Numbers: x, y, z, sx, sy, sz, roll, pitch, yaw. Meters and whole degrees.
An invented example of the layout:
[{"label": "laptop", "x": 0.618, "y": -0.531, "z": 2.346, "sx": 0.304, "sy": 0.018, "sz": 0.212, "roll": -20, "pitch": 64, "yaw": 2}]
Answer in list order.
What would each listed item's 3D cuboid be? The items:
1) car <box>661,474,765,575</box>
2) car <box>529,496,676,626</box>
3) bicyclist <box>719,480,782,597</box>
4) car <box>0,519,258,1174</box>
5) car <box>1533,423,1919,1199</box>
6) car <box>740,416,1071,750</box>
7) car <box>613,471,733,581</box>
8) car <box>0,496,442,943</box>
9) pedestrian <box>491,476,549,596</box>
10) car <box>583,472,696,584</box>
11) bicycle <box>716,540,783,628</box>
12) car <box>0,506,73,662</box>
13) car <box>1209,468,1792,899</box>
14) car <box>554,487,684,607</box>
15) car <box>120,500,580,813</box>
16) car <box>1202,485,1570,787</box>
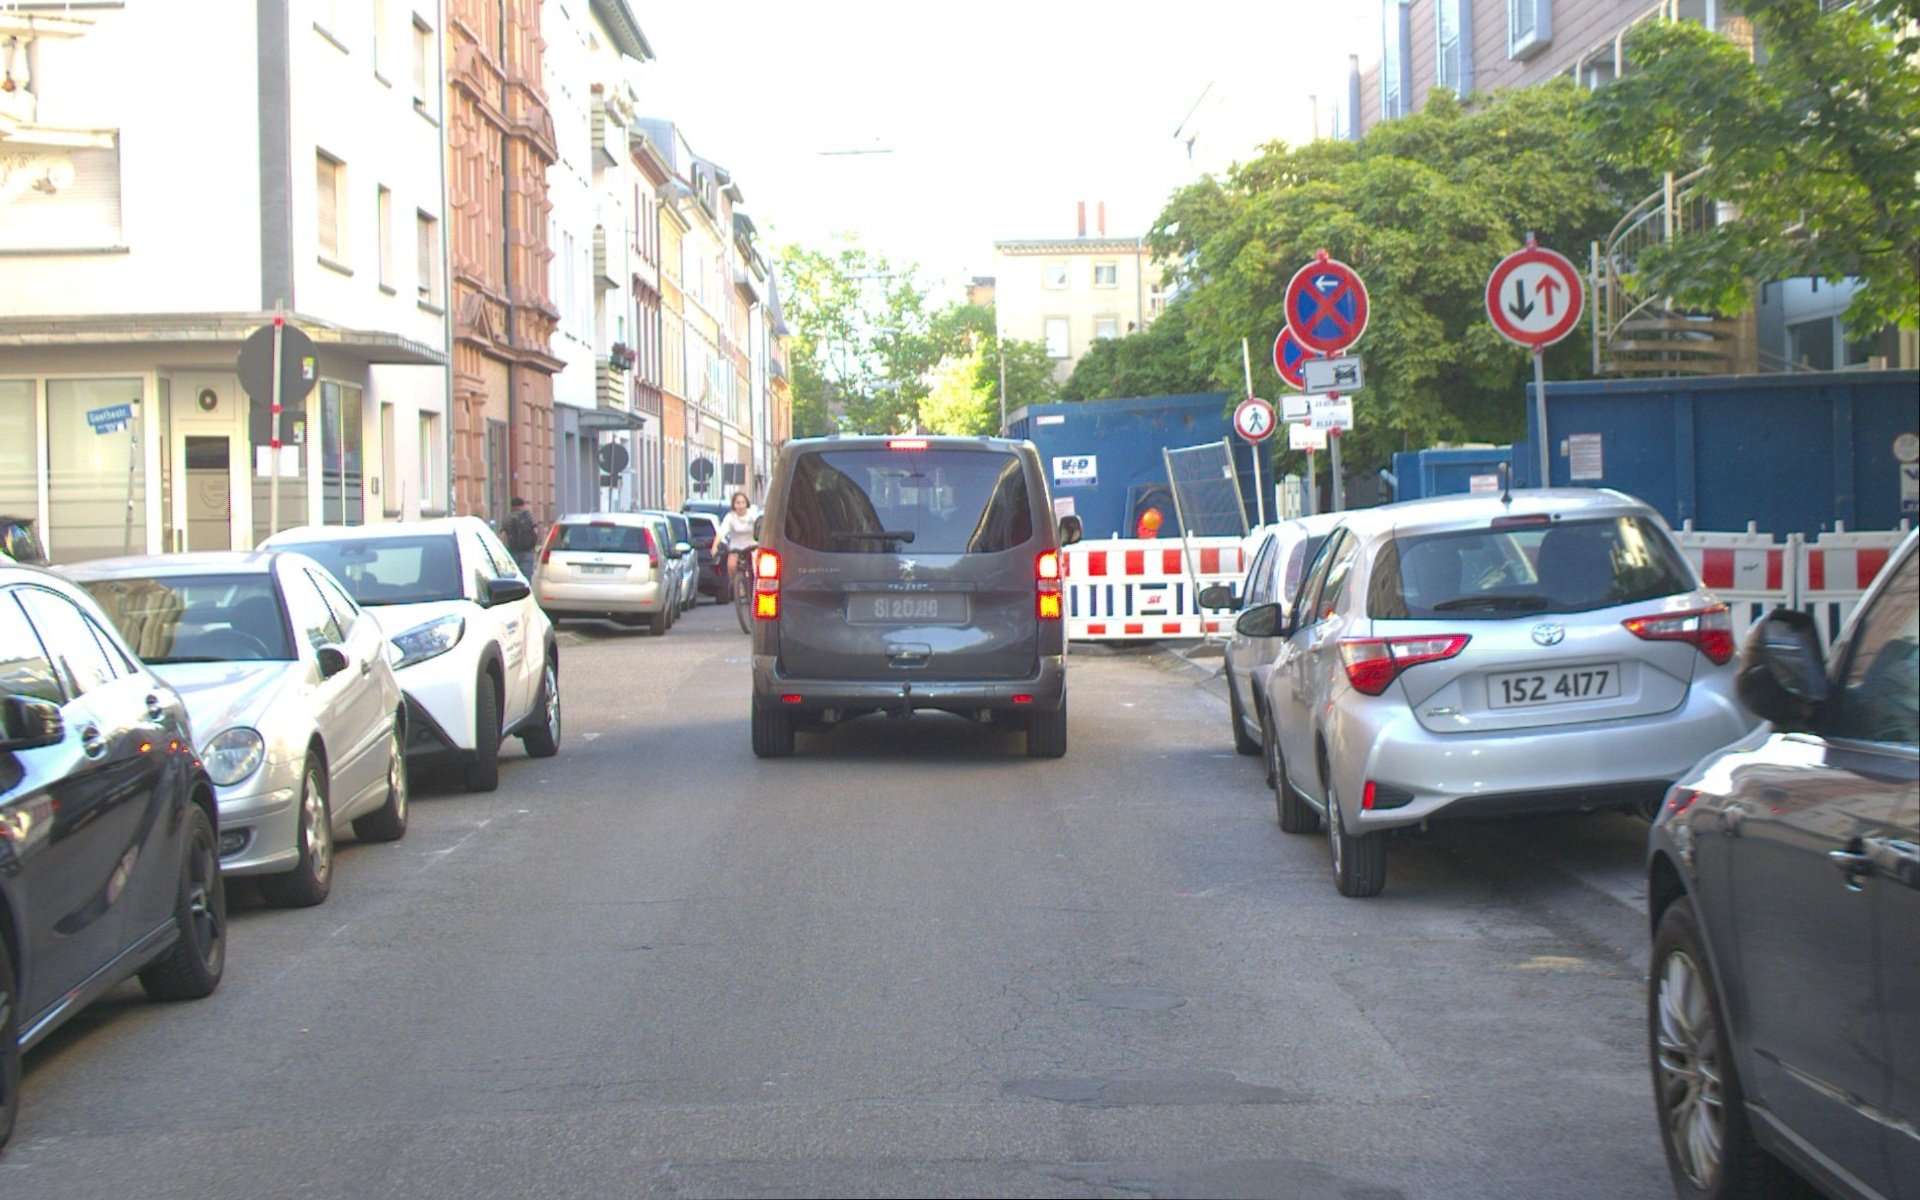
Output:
[{"label": "car", "x": -4.932, "y": -1.497, "z": 68.583, "sx": 1.891, "sy": 1.840, "sz": 4.350, "roll": 4, "pitch": 1, "yaw": -4}, {"label": "car", "x": -4.454, "y": -0.500, "z": 43.160, "sx": 1.656, "sy": 1.455, "sz": 3.418, "roll": 4, "pitch": 1, "yaw": -4}, {"label": "bicyclist", "x": -2.566, "y": -0.758, "z": 42.182, "sx": 0.733, "sy": 1.407, "sz": 0.940, "roll": 1, "pitch": 1, "yaw": -2}, {"label": "car", "x": -3.266, "y": 0.598, "z": 9.260, "sx": 1.920, "sy": 1.478, "sz": 4.268, "roll": -3, "pitch": 2, "yaw": -2}, {"label": "car", "x": 2.302, "y": 0.498, "z": 5.563, "sx": 1.885, "sy": 1.617, "sz": 4.435, "roll": -3, "pitch": 2, "yaw": -1}, {"label": "car", "x": -0.267, "y": -0.133, "z": 21.485, "sx": 1.865, "sy": 1.880, "sz": 4.235, "roll": 0, "pitch": 1, "yaw": 1}, {"label": "car", "x": -4.922, "y": -1.261, "z": 59.217, "sx": 1.891, "sy": 1.713, "sz": 3.755, "roll": 4, "pitch": 1, "yaw": -4}, {"label": "car", "x": -3.473, "y": 0.394, "z": 14.679, "sx": 1.920, "sy": 1.554, "sz": 4.268, "roll": -3, "pitch": 2, "yaw": -2}, {"label": "pedestrian", "x": -6.206, "y": -0.906, "z": 48.507, "sx": 0.740, "sy": 1.659, "sz": 0.704, "roll": -1, "pitch": 2, "yaw": -5}, {"label": "car", "x": -5.163, "y": -1.161, "z": 55.579, "sx": 1.666, "sy": 1.660, "sz": 3.092, "roll": 4, "pitch": 1, "yaw": -4}, {"label": "bicycle", "x": -2.570, "y": -0.206, "z": 42.135, "sx": 0.733, "sy": 1.024, "sz": 2.115, "roll": 1, "pitch": 1, "yaw": -2}, {"label": "car", "x": -10.566, "y": -0.188, "z": 34.750, "sx": 2.786, "sy": 1.534, "sz": 1.594, "roll": 0, "pitch": 2, "yaw": 0}, {"label": "car", "x": 2.147, "y": 0.256, "z": 14.700, "sx": 1.676, "sy": 1.519, "sz": 3.971, "roll": -3, "pitch": 2, "yaw": -2}, {"label": "car", "x": -4.781, "y": -0.751, "z": 48.482, "sx": 1.656, "sy": 1.520, "sz": 3.418, "roll": 4, "pitch": 1, "yaw": -4}, {"label": "car", "x": -3.419, "y": 0.233, "z": 20.082, "sx": 1.920, "sy": 1.502, "sz": 4.268, "roll": -3, "pitch": 2, "yaw": -1}, {"label": "car", "x": 2.307, "y": 0.130, "z": 19.429, "sx": 1.676, "sy": 1.470, "sz": 3.729, "roll": -3, "pitch": 2, "yaw": 2}]
